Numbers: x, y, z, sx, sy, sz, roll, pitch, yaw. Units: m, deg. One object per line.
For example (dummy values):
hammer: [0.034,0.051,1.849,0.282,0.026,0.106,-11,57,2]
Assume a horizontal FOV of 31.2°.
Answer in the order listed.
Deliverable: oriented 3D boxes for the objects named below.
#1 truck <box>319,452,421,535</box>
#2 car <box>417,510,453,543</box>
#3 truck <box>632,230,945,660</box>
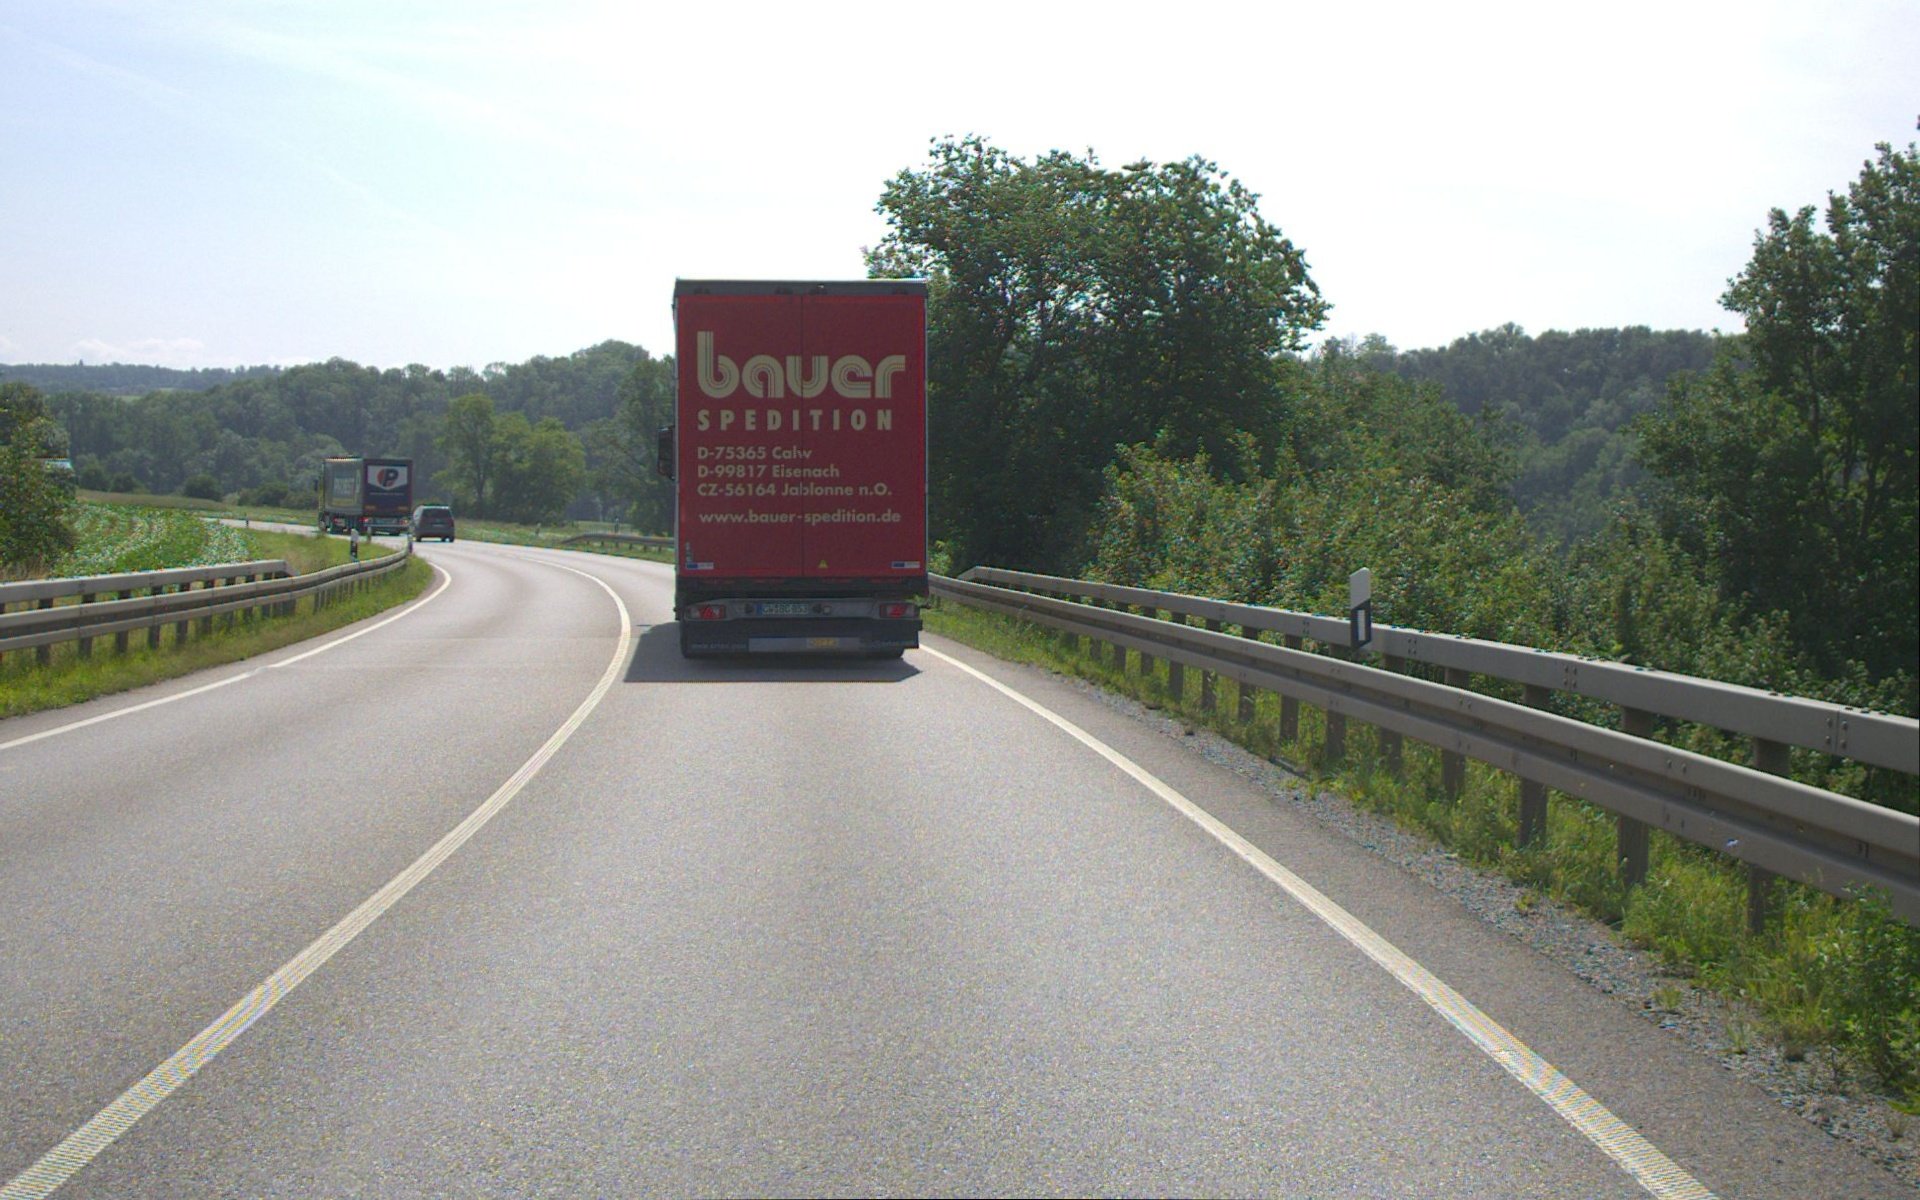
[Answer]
truck: [-31.743,-5.647,184.620,3.639,4.277,11.989,0,1,-18]
car: [-24.535,-3.435,160.572,1.581,1.496,3.878,1,2,-9]
truck: [-1.945,-1.644,38.301,3.094,4.248,8.316,0,2,-3]
